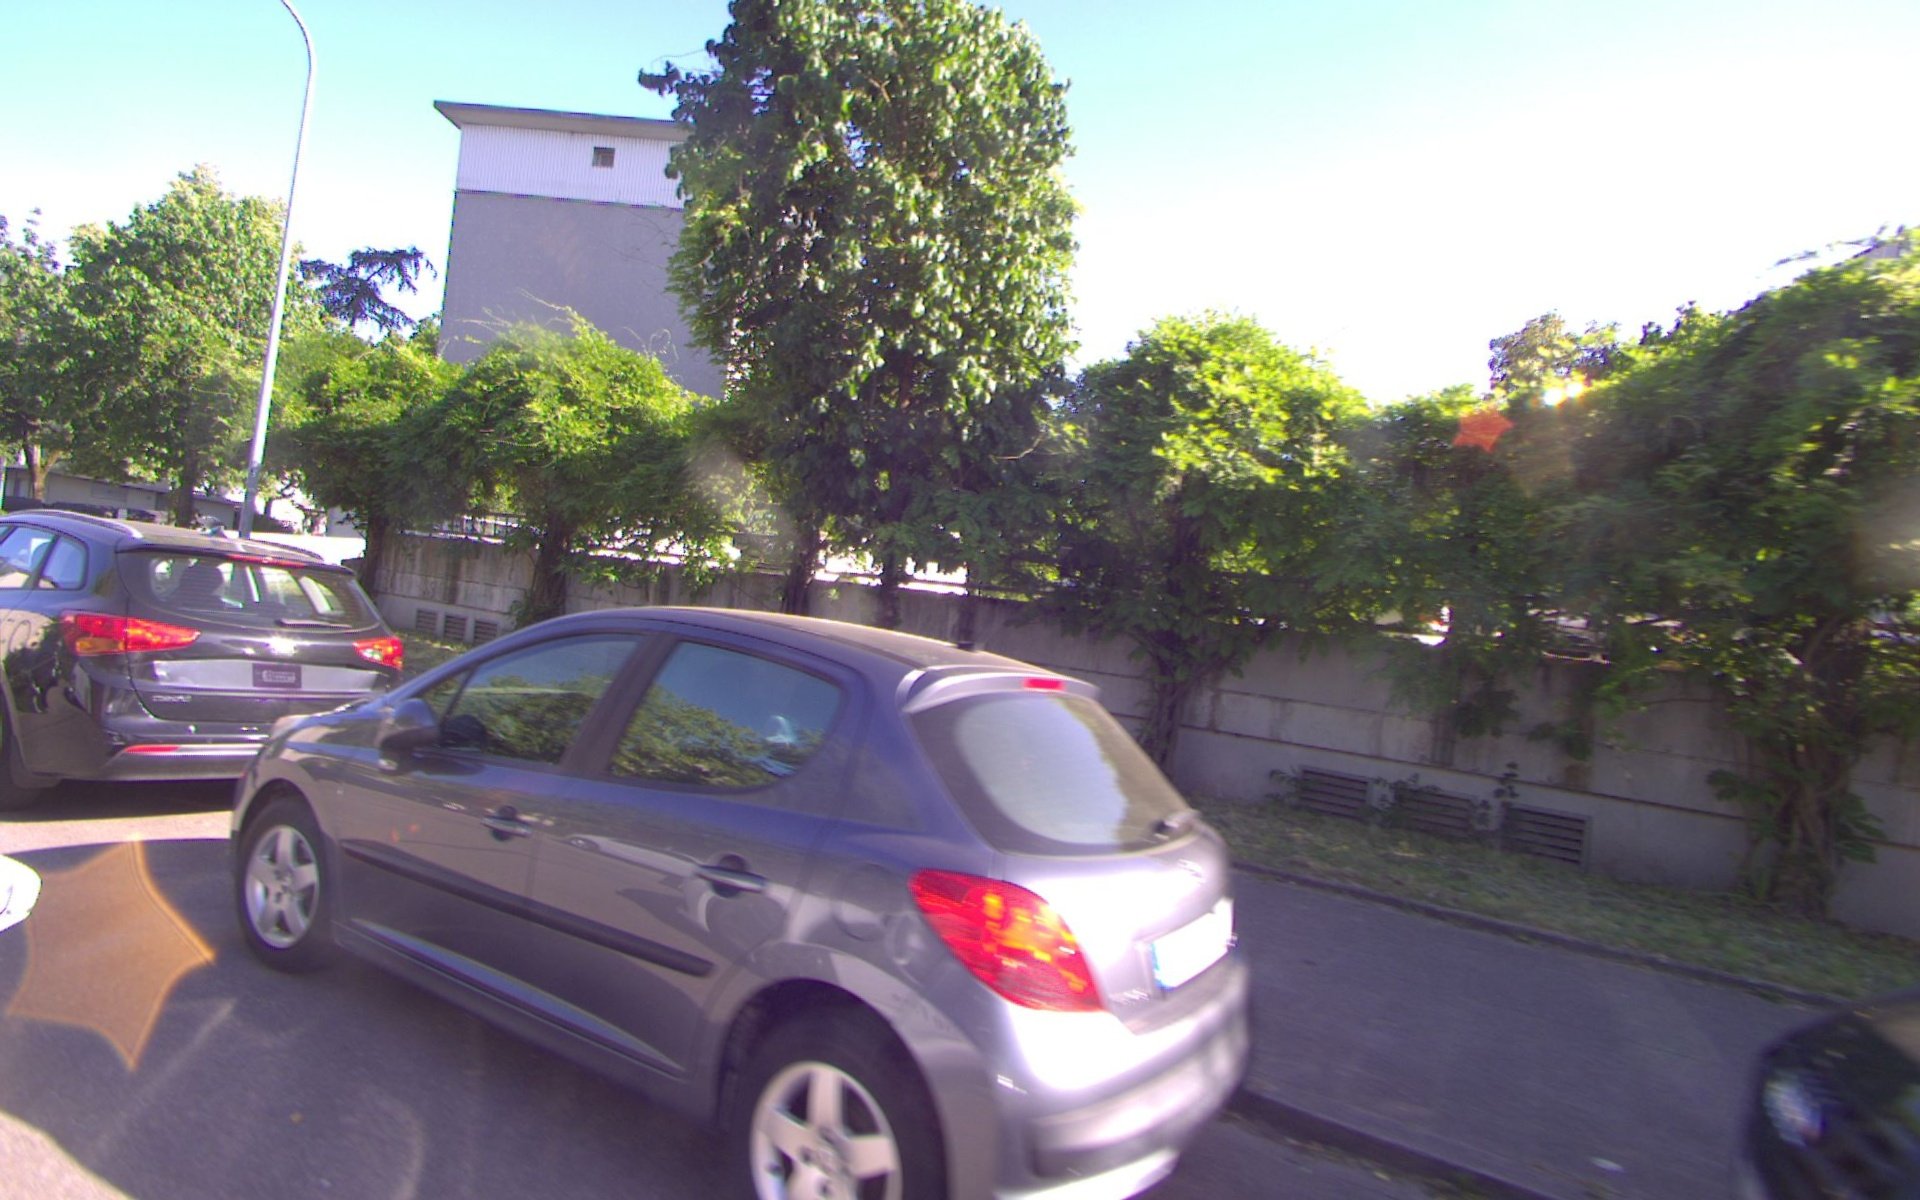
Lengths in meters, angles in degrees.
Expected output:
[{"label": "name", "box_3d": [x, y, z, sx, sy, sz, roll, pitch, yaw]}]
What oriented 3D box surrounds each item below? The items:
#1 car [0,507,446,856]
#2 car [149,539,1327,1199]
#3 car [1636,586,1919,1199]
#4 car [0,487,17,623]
[{"label": "car", "box_3d": [-5.282, 0.259, 6.156, 4.219, 1.473, 1.686, 6, -2, 31]}, {"label": "car", "box_3d": [-0.911, 0.785, 3.523, 3.760, 1.504, 1.688, 6, -3, 31]}, {"label": "car", "box_3d": [3.388, 1.137, 0.889, 4.387, 1.683, 1.814, 7, -1, 31]}, {"label": "car", "box_3d": [-11.311, -0.523, 9.998, 4.164, 1.638, 1.732, 6, -1, 32]}]
